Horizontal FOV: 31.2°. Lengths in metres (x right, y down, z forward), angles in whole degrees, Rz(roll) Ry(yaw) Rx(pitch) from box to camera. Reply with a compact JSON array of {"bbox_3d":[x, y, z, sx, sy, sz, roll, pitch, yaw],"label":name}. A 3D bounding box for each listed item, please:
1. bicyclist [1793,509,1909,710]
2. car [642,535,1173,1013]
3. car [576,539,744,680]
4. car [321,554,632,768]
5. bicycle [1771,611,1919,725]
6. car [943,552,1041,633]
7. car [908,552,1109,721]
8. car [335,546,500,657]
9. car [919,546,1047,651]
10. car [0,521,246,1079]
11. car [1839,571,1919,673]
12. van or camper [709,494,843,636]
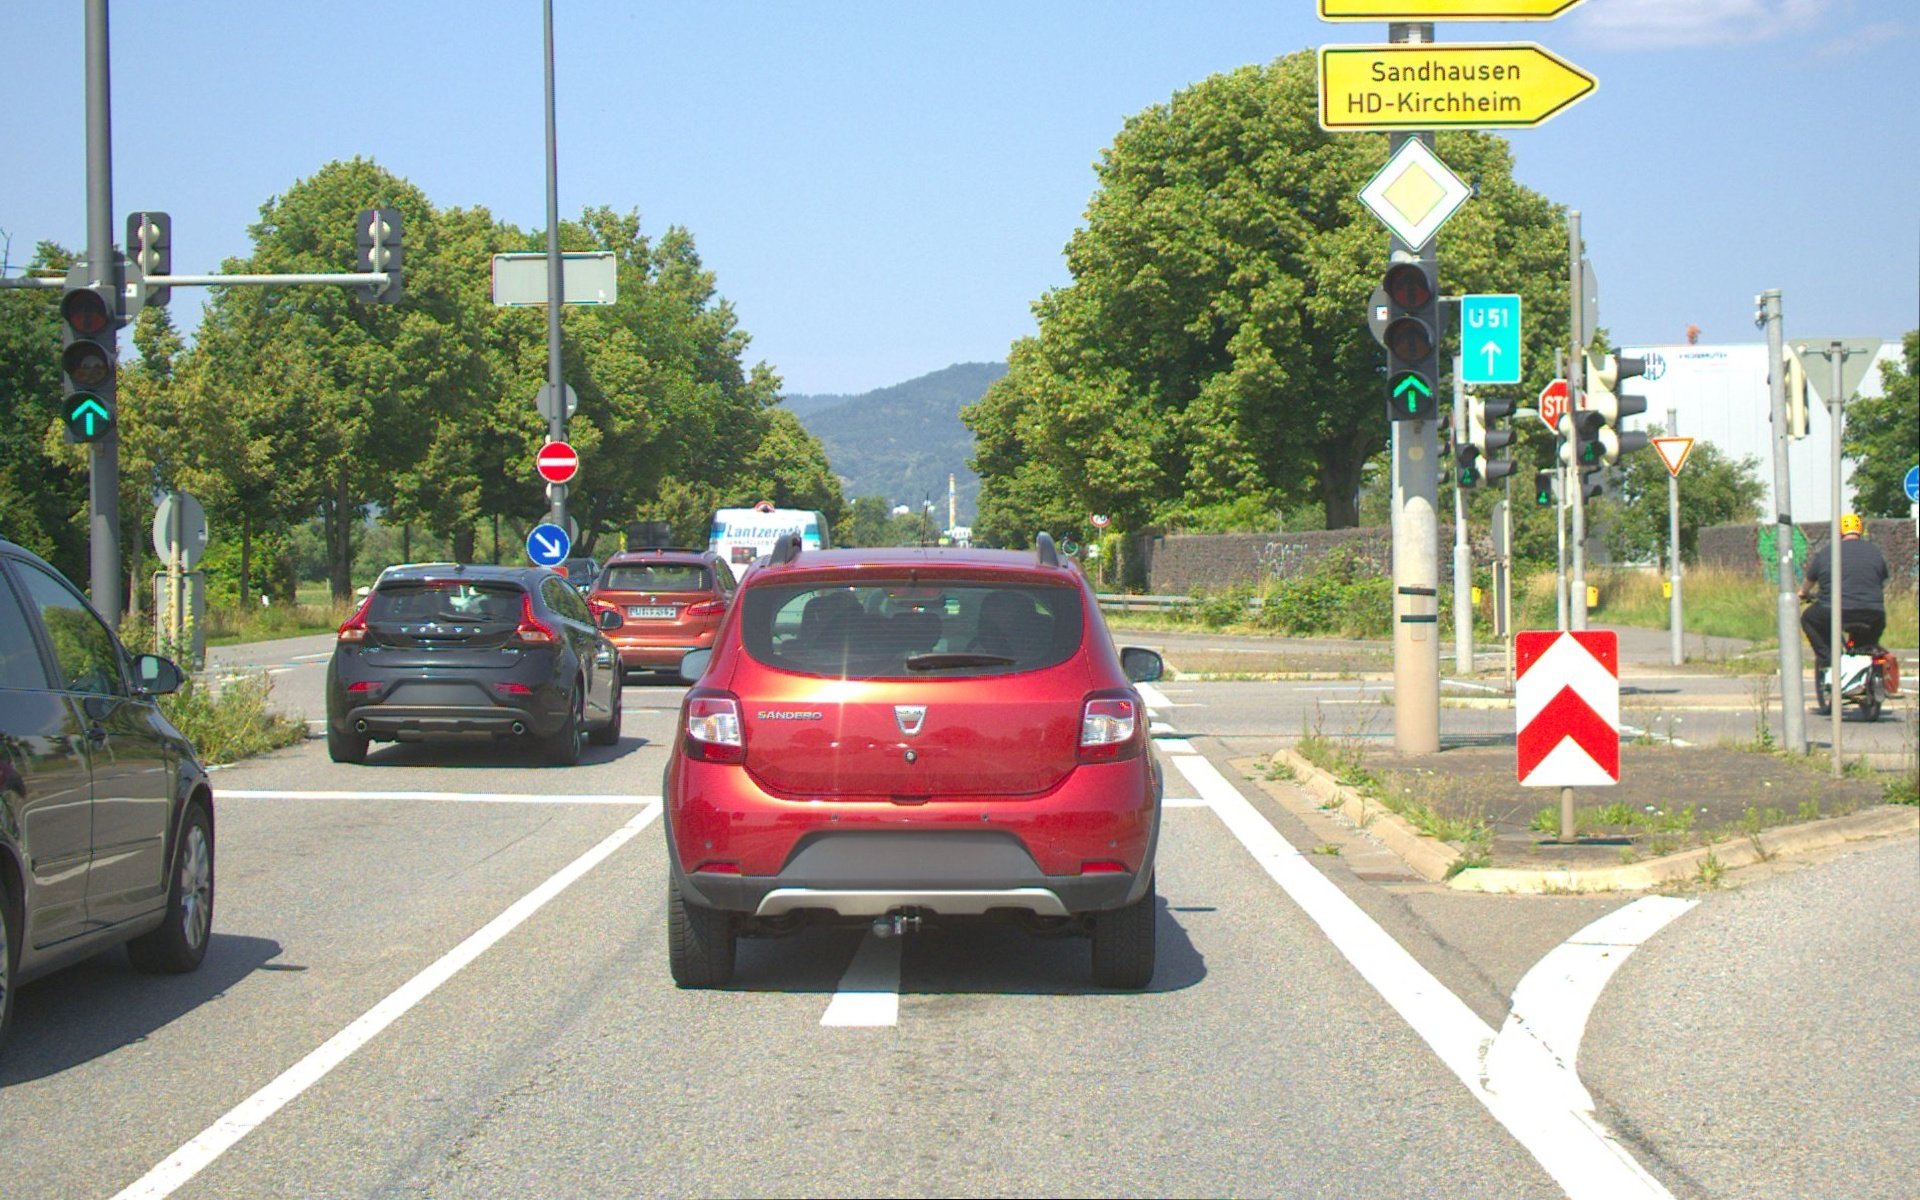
[{"bbox_3d":[7.970,0.080,30.778,0.802,1.765,0.809,-1,1,-1],"label":"bicyclist"},{"bbox_3d":[-0.120,0.551,13.210,1.749,1.570,3.676,0,1,2],"label":"car"},{"bbox_3d":[-3.515,0.079,40.872,1.724,1.594,3.956,0,1,-1],"label":"car"},{"bbox_3d":[-3.511,0.393,25.597,1.702,1.437,3.955,0,1,1],"label":"car"},{"bbox_3d":[7.993,0.586,30.772,0.761,0.911,2.780,-1,1,-1],"label":"bicycle"},{"bbox_3d":[0.627,-0.166,64.745,1.749,1.453,3.676,0,1,2],"label":"car"},{"bbox_3d":[0.479,0.291,31.807,1.749,1.453,3.676,0,1,2],"label":"car"},{"bbox_3d":[-8.611,-0.008,54.879,1.993,1.664,4.000,-1,1,0],"label":"car"},{"bbox_3d":[0.367,-0.050,49.550,1.749,1.453,3.676,0,1,2],"label":"car"},{"bbox_3d":[-3.543,0.535,10.823,1.723,1.570,3.892,1,1,1],"label":"car"},{"bbox_3d":[14.057,0.278,45.577,4.370,1.322,1.804,0,1,26],"label":"car"},{"bbox_3d":[-3.075,-0.610,58.236,2.179,2.295,4.827,0,1,-2],"label":"van or camper"}]
